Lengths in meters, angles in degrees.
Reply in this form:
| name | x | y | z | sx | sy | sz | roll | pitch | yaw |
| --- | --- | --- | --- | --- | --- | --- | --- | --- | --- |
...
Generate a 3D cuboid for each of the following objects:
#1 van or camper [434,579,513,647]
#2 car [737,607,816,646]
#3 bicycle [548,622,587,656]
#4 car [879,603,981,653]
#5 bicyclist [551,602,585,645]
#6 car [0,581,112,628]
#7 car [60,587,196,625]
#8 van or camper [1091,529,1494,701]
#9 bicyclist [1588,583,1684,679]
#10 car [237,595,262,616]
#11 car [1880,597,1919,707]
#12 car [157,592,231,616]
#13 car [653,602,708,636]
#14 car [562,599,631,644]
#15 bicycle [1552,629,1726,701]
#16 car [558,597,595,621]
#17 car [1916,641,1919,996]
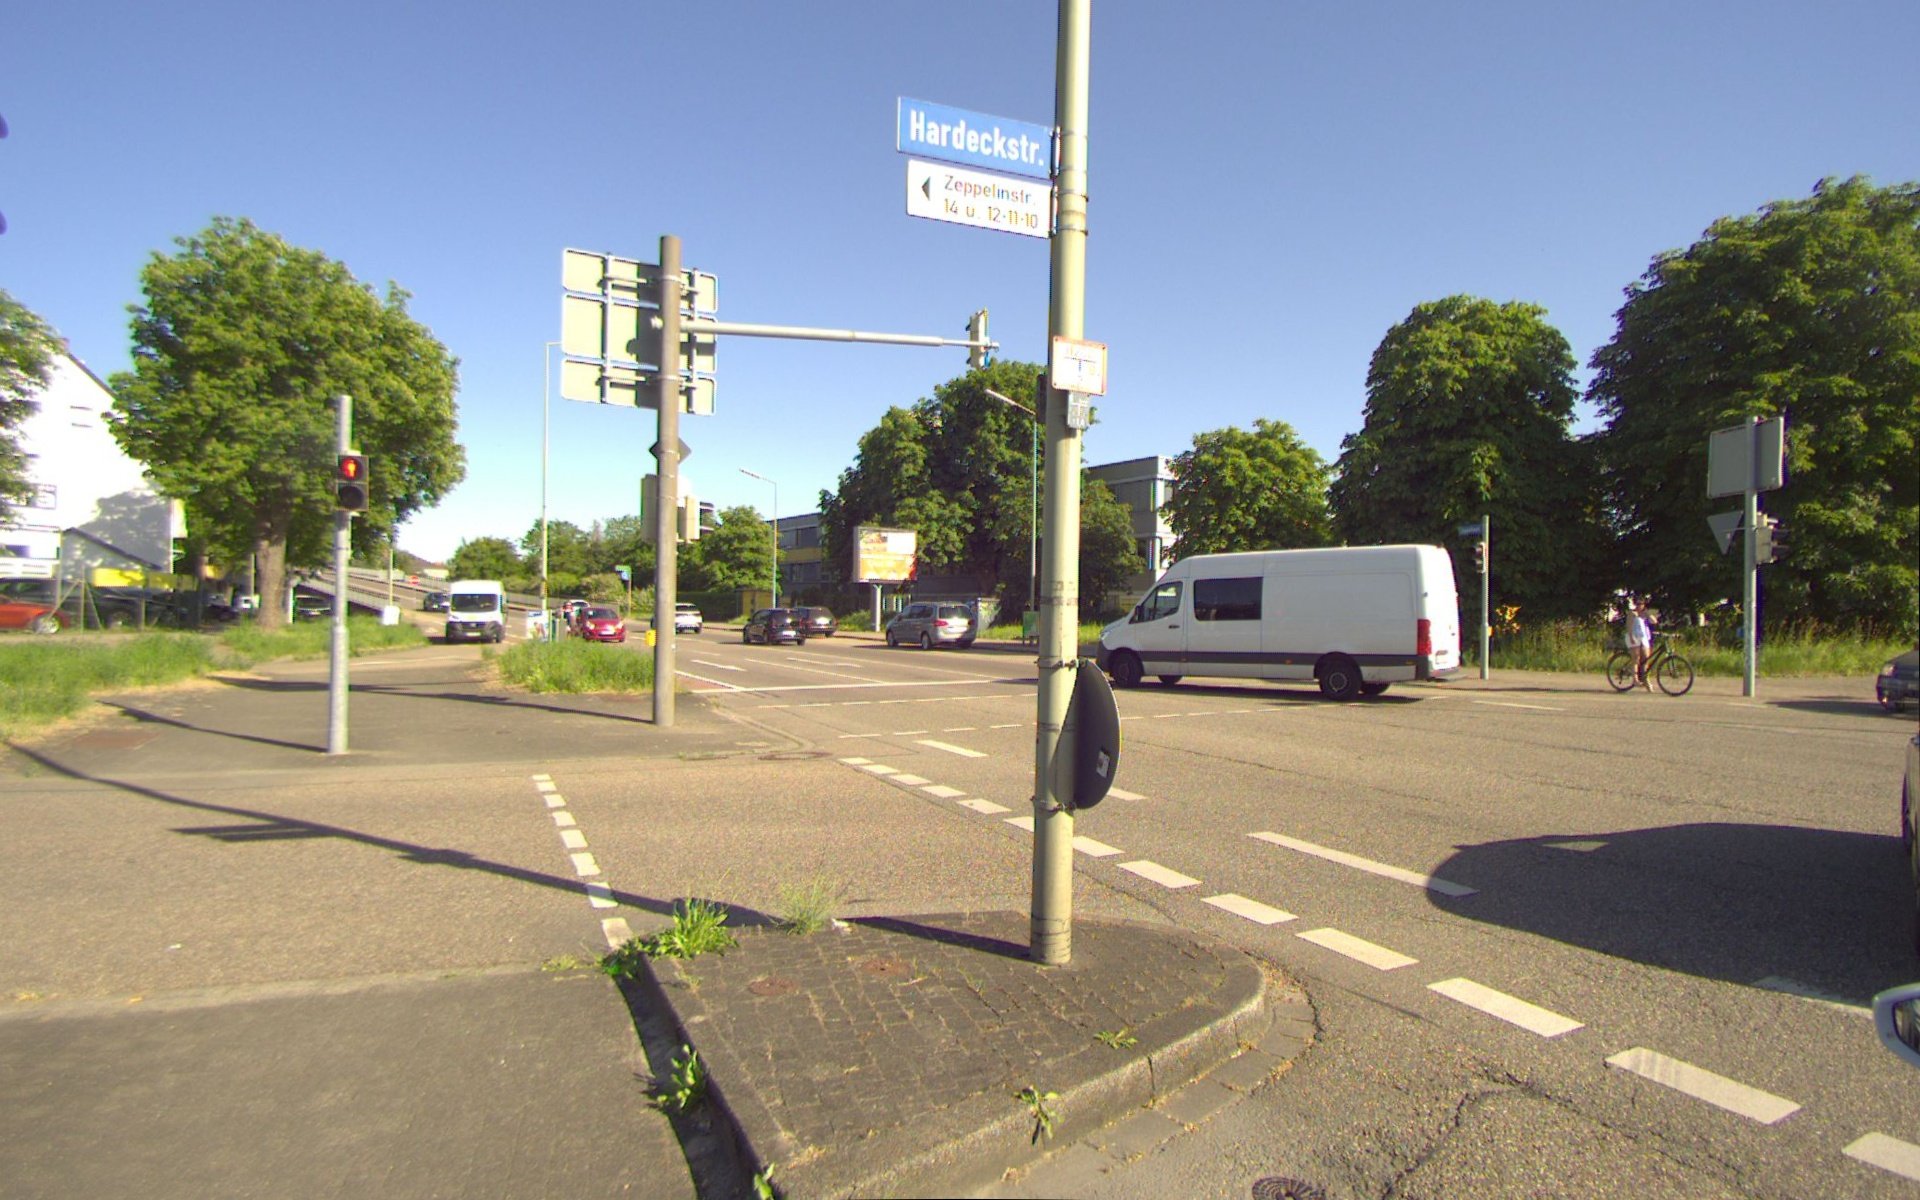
| name | x | y | z | sx | sy | sz | roll | pitch | yaw |
| --- | --- | --- | --- | --- | --- | --- | --- | --- | --- |
| van or camper | -20.591 | 0.518 | 42.321 | 2.575 | 2.617 | 6.559 | 0 | 0 | -30 |
| car | -7.548 | 1.041 | 41.015 | 1.902 | 1.508 | 4.236 | 0 | 0 | -30 |
| bicycle | -13.308 | 1.303 | 34.032 | 0.929 | 1.030 | 2.179 | 2 | 0 | -29 |
| car | -1.187 | 0.995 | 37.801 | 1.857 | 1.745 | 4.574 | -1 | 0 | -31 |
| bicyclist | -13.280 | 0.802 | 34.002 | 0.925 | 1.420 | 0.816 | 2 | 0 | -30 |
| car | -28.157 | 0.096 | 29.056 | 2.315 | 1.327 | 5.058 | 2 | 0 | 23 |
| car | -37.490 | 0.299 | 45.377 | 1.783 | 1.596 | 4.396 | 2 | 0 | 34 |
| van or camper | 6.112 | 0.197 | 19.253 | 6.970 | 2.775 | 2.224 | 2 | 0 | 39 |
| bicyclist | 12.617 | 0.567 | 18.770 | 0.876 | 1.715 | 1.188 | 2 | 0 | -10 |
| car | -70.407 | 0.546 | 99.476 | 1.911 | 2.017 | 4.213 | 2 | 0 | -36 |
| car | 16.507 | 0.819 | 15.382 | 3.935 | 1.661 | 1.804 | 1 | -1 | -17 |
| car | -53.054 | 0.295 | 69.634 | 1.750 | 1.530 | 3.667 | 2 | 0 | 24 |
| car | -14.724 | 0.988 | 52.846 | 1.975 | 1.702 | 3.970 | 0 | 0 | -29 |
| car | -15.366 | 0.876 | 42.315 | 1.839 | 1.759 | 4.231 | 1 | 0 | -33 |
| bicycle | 12.593 | 1.164 | 18.794 | 0.887 | 1.140 | 2.948 | 2 | 0 | -10 |
| car | -26.577 | 0.621 | 69.571 | 1.860 | 1.564 | 3.970 | 2 | 0 | -28 |
| car | 5.858 | 0.822 | 4.820 | 1.752 | 1.614 | 3.963 | 1 | -1 | 45 |
